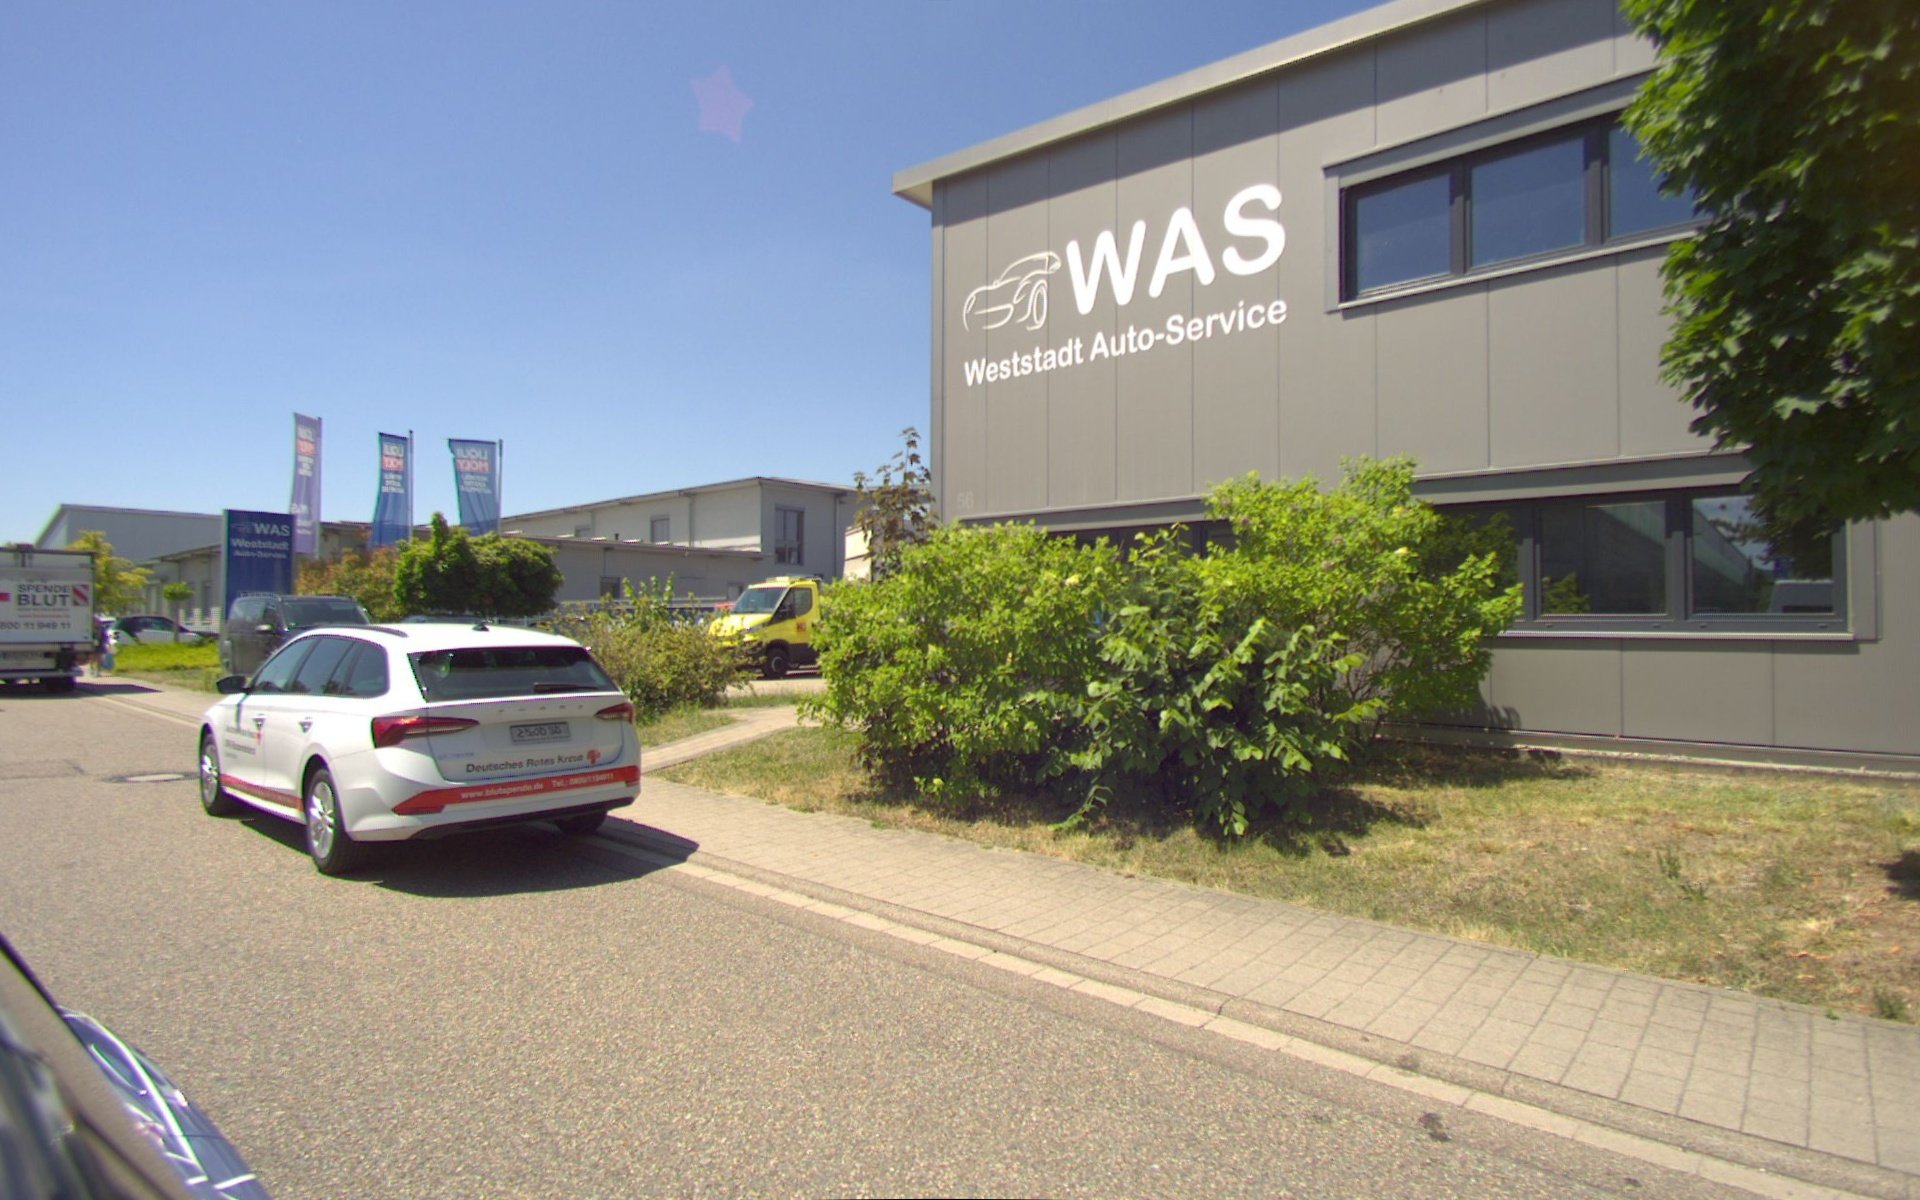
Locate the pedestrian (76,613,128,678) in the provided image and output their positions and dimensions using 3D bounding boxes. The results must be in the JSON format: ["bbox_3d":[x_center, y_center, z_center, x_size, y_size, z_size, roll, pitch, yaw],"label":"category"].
[{"bbox_3d":[-21.759,1.144,25.672,0.785,1.586,0.889,-2,-1,42],"label":"pedestrian"}]

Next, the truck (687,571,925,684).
[{"bbox_3d":[-3.655,0.634,25.185,2.164,2.480,5.893,-2,-1,41],"label":"truck"}]

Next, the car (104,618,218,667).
[{"bbox_3d":[-26.603,1.392,33.729,1.534,1.529,2.713,-1,-2,40],"label":"car"}]

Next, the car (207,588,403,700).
[{"bbox_3d":[-13.295,0.825,20.398,5.216,1.971,1.973,-1,-2,41],"label":"car"}]

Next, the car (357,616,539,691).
[{"bbox_3d":[-11.237,1.097,22.073,4.767,1.427,1.911,-1,0,41],"label":"car"}]

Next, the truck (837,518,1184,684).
[{"bbox_3d":[1.226,0.001,24.431,7.924,3.584,2.595,-1,-1,-20],"label":"truck"}]

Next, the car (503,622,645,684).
[{"bbox_3d":[-9.201,1.205,23.977,3.761,1.347,1.572,-1,-2,41],"label":"car"}]

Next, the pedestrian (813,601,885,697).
[{"bbox_3d":[-2.105,0.898,19.179,0.931,1.739,1.002,0,0,36],"label":"pedestrian"}]

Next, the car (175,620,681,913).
[{"bbox_3d":[-4.004,0.876,7.226,4.489,1.469,1.712,-1,-2,41],"label":"car"}]

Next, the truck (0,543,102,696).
[{"bbox_3d":[-20.365,0.423,21.465,6.413,2.882,2.336,-1,-4,42],"label":"truck"}]
